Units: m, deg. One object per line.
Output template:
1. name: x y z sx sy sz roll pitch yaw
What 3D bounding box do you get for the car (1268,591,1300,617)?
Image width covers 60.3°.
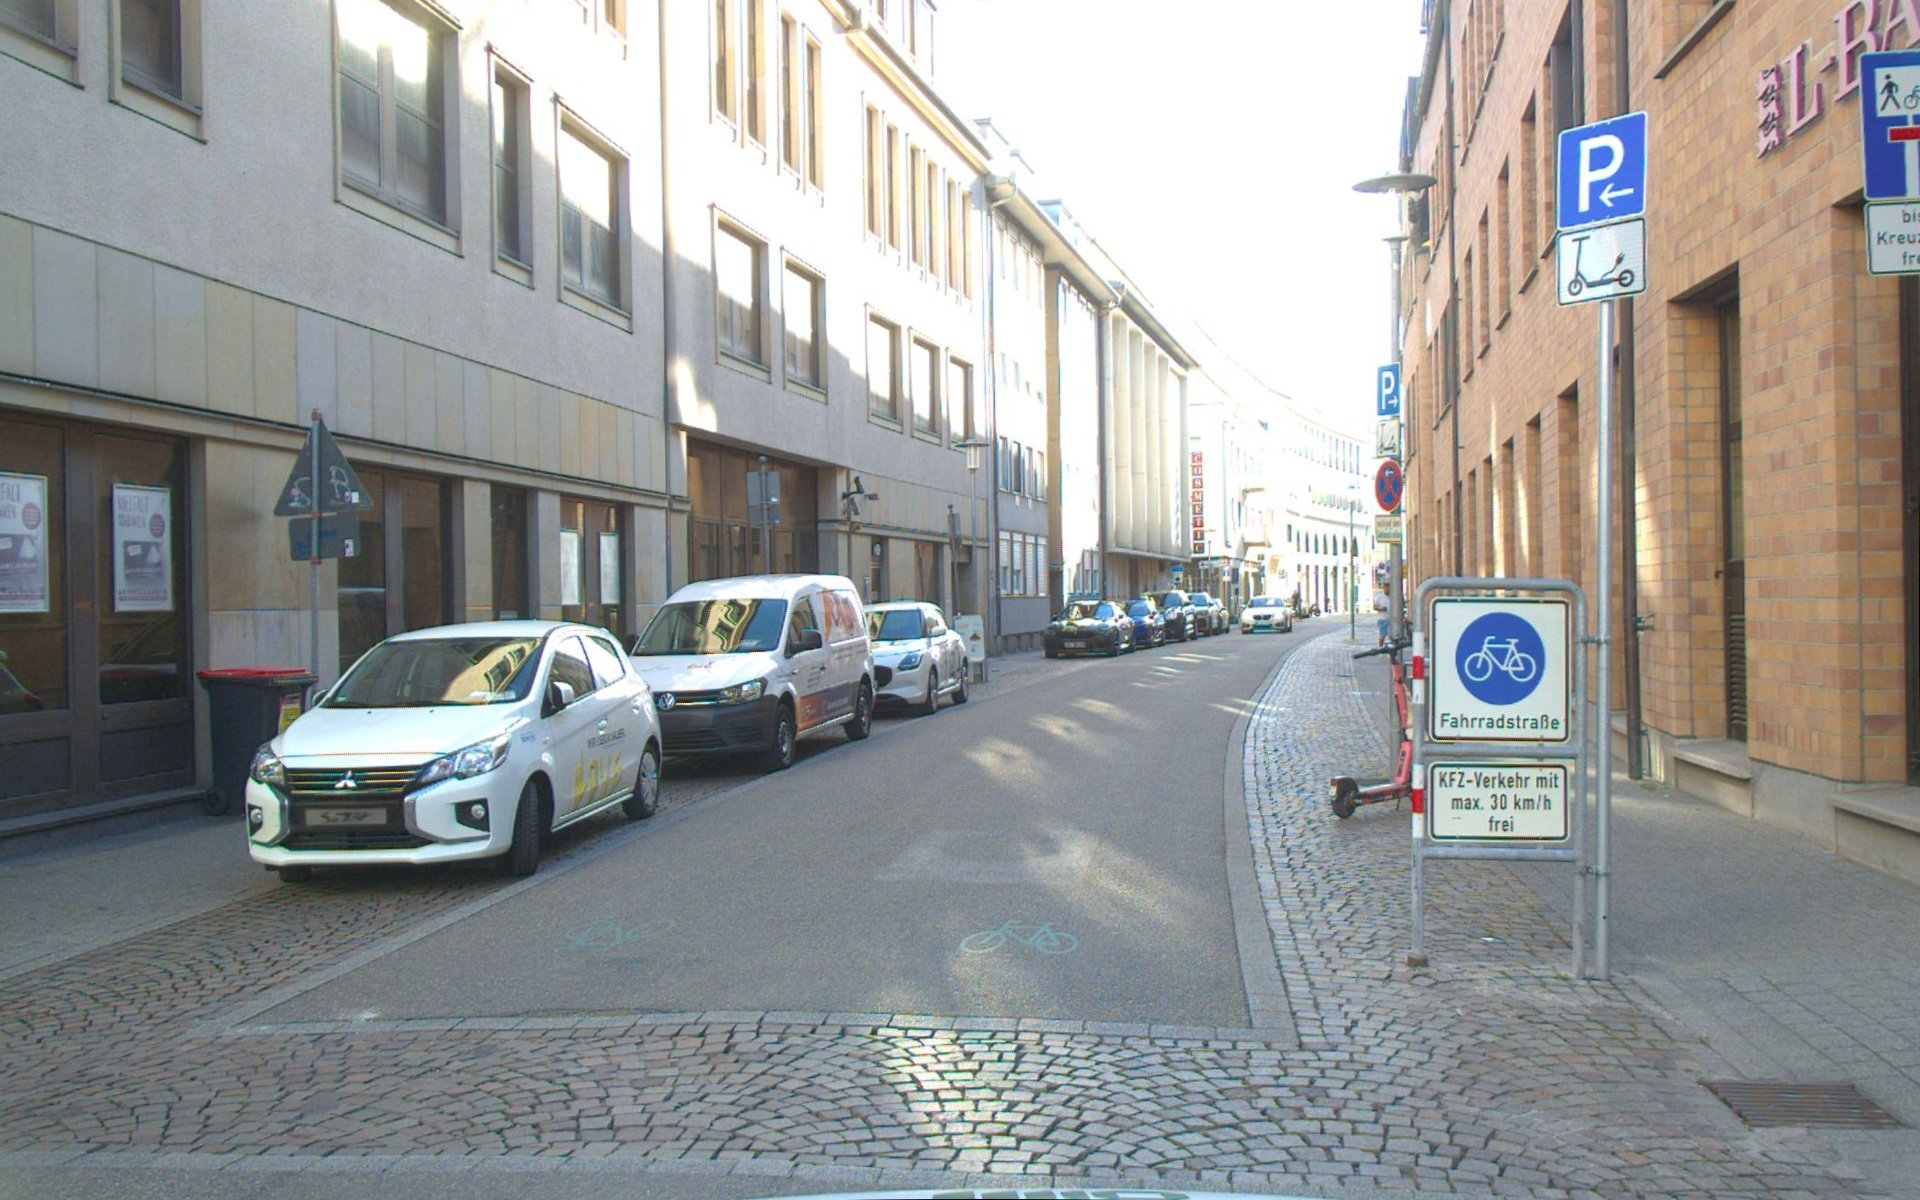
1. car: 20.898 0.257 106.702 1.700 1.634 3.535 0 0 17

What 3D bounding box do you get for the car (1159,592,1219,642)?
1. car: 8.682 0.602 62.360 1.849 1.772 4.394 -2 0 12

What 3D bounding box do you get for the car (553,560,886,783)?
1. car: -2.233 0.621 16.852 1.859 1.890 4.738 -3 0 10

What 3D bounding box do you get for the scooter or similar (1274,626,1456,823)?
1. scooter or similar: 2.858 0.835 11.619 1.406 1.257 0.530 -1 1 -41

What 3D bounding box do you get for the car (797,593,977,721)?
1. car: -0.927 0.731 23.091 1.634 1.548 3.779 -3 0 10

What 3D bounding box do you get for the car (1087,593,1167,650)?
1. car: 5.049 0.604 49.461 1.849 1.557 4.343 -2 0 12

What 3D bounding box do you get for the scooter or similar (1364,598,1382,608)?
1. scooter or similar: 36.920 0.275 147.921 2.210 0.944 0.518 0 0 -44

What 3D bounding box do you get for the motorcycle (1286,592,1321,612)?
1. motorcycle: 24.421 0.164 117.462 2.340 1.340 0.862 -2 0 16

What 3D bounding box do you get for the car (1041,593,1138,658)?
1. car: 3.459 0.623 43.392 1.849 1.557 4.733 -2 0 12

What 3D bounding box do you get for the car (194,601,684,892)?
1. car: -3.199 0.814 11.015 1.700 1.518 3.802 -3 0 5

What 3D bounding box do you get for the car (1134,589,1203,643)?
1. car: 7.048 0.498 55.490 1.849 1.705 4.557 -2 0 12

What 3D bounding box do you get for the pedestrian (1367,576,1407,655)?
1. pedestrian: 9.646 0.346 37.380 0.744 1.746 0.822 -3 0 12

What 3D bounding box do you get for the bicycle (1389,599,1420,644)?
1. bicycle: 11.704 0.558 43.602 0.538 1.122 1.984 -4 0 10

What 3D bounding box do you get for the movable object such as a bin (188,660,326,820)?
1. movable object such as a bin: -5.200 1.022 12.265 0.721 1.120 0.591 1 -1 7

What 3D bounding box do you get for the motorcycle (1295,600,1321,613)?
1. motorcycle: 23.848 0.456 113.328 1.656 0.874 0.594 1 -1 21

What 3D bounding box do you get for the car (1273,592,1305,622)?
1. car: 18.204 0.353 91.346 1.604 1.544 4.164 -2 0 12

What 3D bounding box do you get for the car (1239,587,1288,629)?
1. car: 11.844 0.289 64.385 1.678 1.544 4.164 -2 0 12
